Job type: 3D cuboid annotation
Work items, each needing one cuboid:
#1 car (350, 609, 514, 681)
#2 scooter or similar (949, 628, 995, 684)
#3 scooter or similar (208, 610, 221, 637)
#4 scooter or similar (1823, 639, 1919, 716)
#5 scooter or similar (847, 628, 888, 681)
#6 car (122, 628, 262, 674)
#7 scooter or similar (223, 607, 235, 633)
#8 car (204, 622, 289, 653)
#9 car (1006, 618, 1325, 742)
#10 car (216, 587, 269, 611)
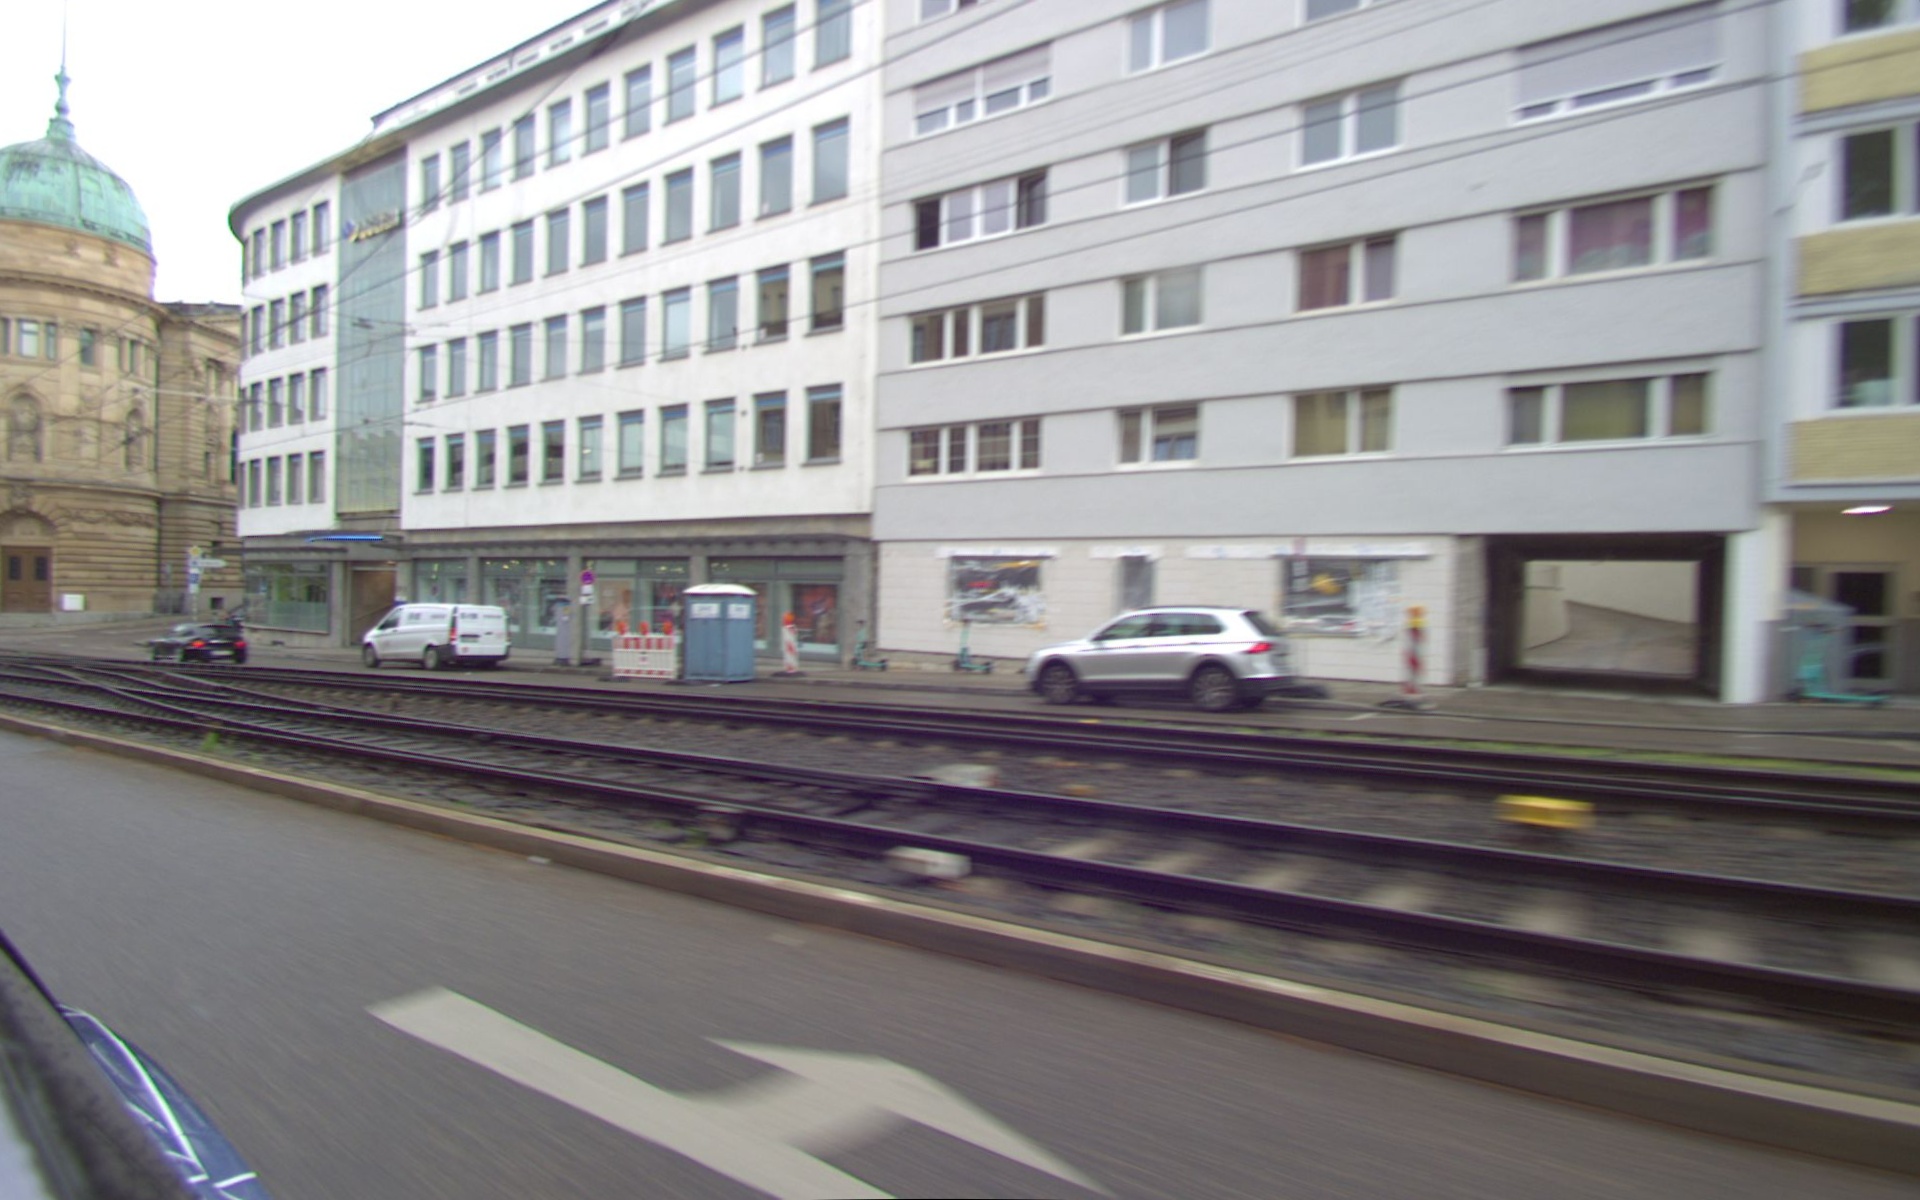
[{"bbox_3d":[-15.419,1.229,29.473,5.115,1.856,1.978,0,1,33],"label":"car"},{"bbox_3d":[0.268,1.260,22.848,0.971,1.212,0.377,0,1,34],"label":"scooter or similar"},{"bbox_3d":[-35.886,1.119,48.682,0.404,1.209,1.563,-1,1,-40],"label":"scooter or similar"},{"bbox_3d":[12.825,1.092,14.209,0.971,1.040,0.377,-4,-2,34],"label":"scooter or similar"},{"bbox_3d":[-2.251,1.310,24.511,0.971,1.212,0.377,0,1,34],"label":"scooter or similar"},{"bbox_3d":[-23.921,1.551,31.482,4.680,1.265,1.978,0,-2,33],"label":"car"},{"bbox_3d":[-35.395,0.982,49.015,0.404,1.209,1.564,-1,1,-33],"label":"scooter or similar"},{"bbox_3d":[-37.581,1.948,53.434,1.758,1.408,4.332,0,1,-5],"label":"car"},{"bbox_3d":[3.262,1.220,16.478,4.684,1.686,1.977,-2,0,35],"label":"car"},{"bbox_3d":[-50.729,-0.081,71.568,3.994,1.652,1.975,0,1,38],"label":"car"}]
